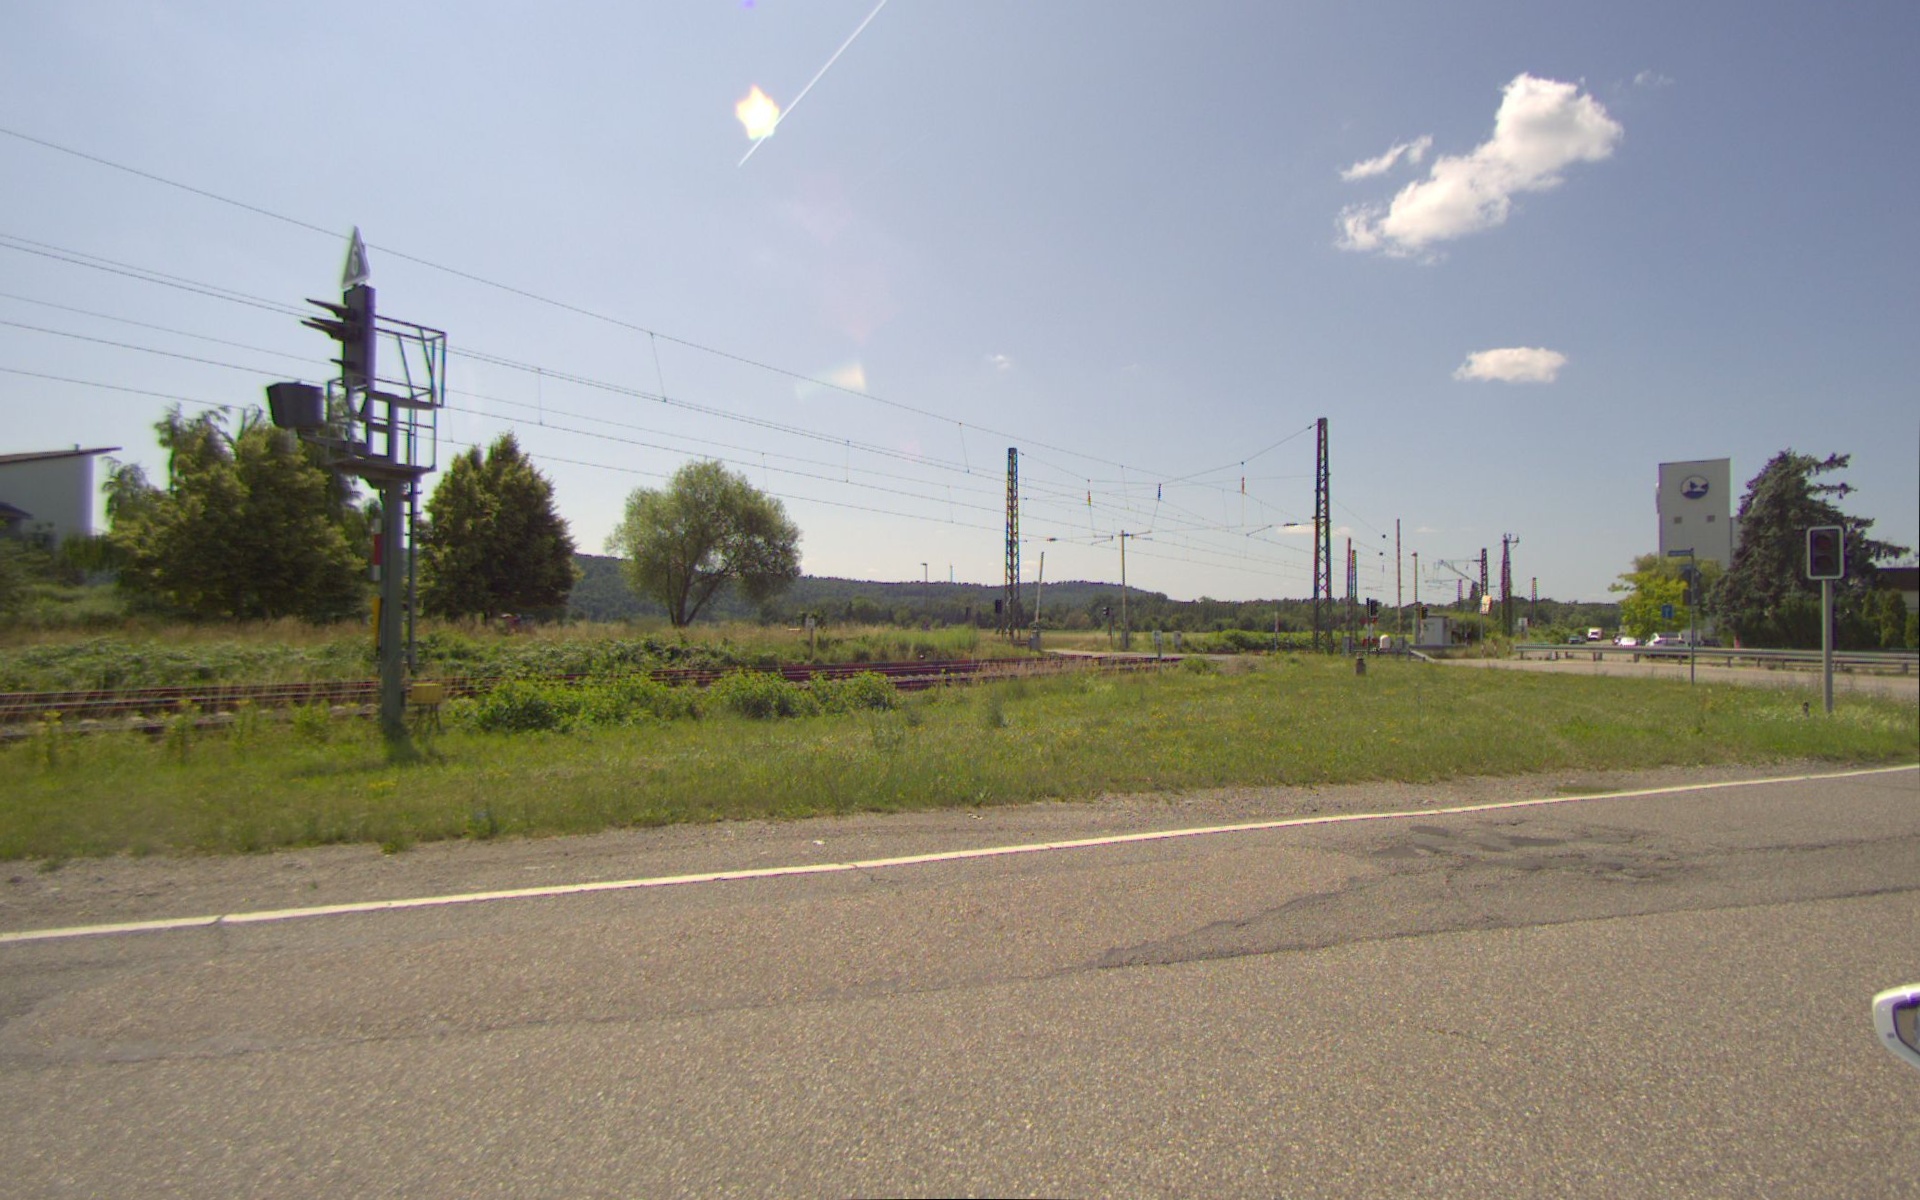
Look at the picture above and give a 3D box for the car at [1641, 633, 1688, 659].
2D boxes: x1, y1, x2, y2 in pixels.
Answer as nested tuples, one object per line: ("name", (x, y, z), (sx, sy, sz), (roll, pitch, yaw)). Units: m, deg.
("car", (43.534, 2.808, 62.177), (1.964, 1.530, 4.446), (-1, -2, 30))
